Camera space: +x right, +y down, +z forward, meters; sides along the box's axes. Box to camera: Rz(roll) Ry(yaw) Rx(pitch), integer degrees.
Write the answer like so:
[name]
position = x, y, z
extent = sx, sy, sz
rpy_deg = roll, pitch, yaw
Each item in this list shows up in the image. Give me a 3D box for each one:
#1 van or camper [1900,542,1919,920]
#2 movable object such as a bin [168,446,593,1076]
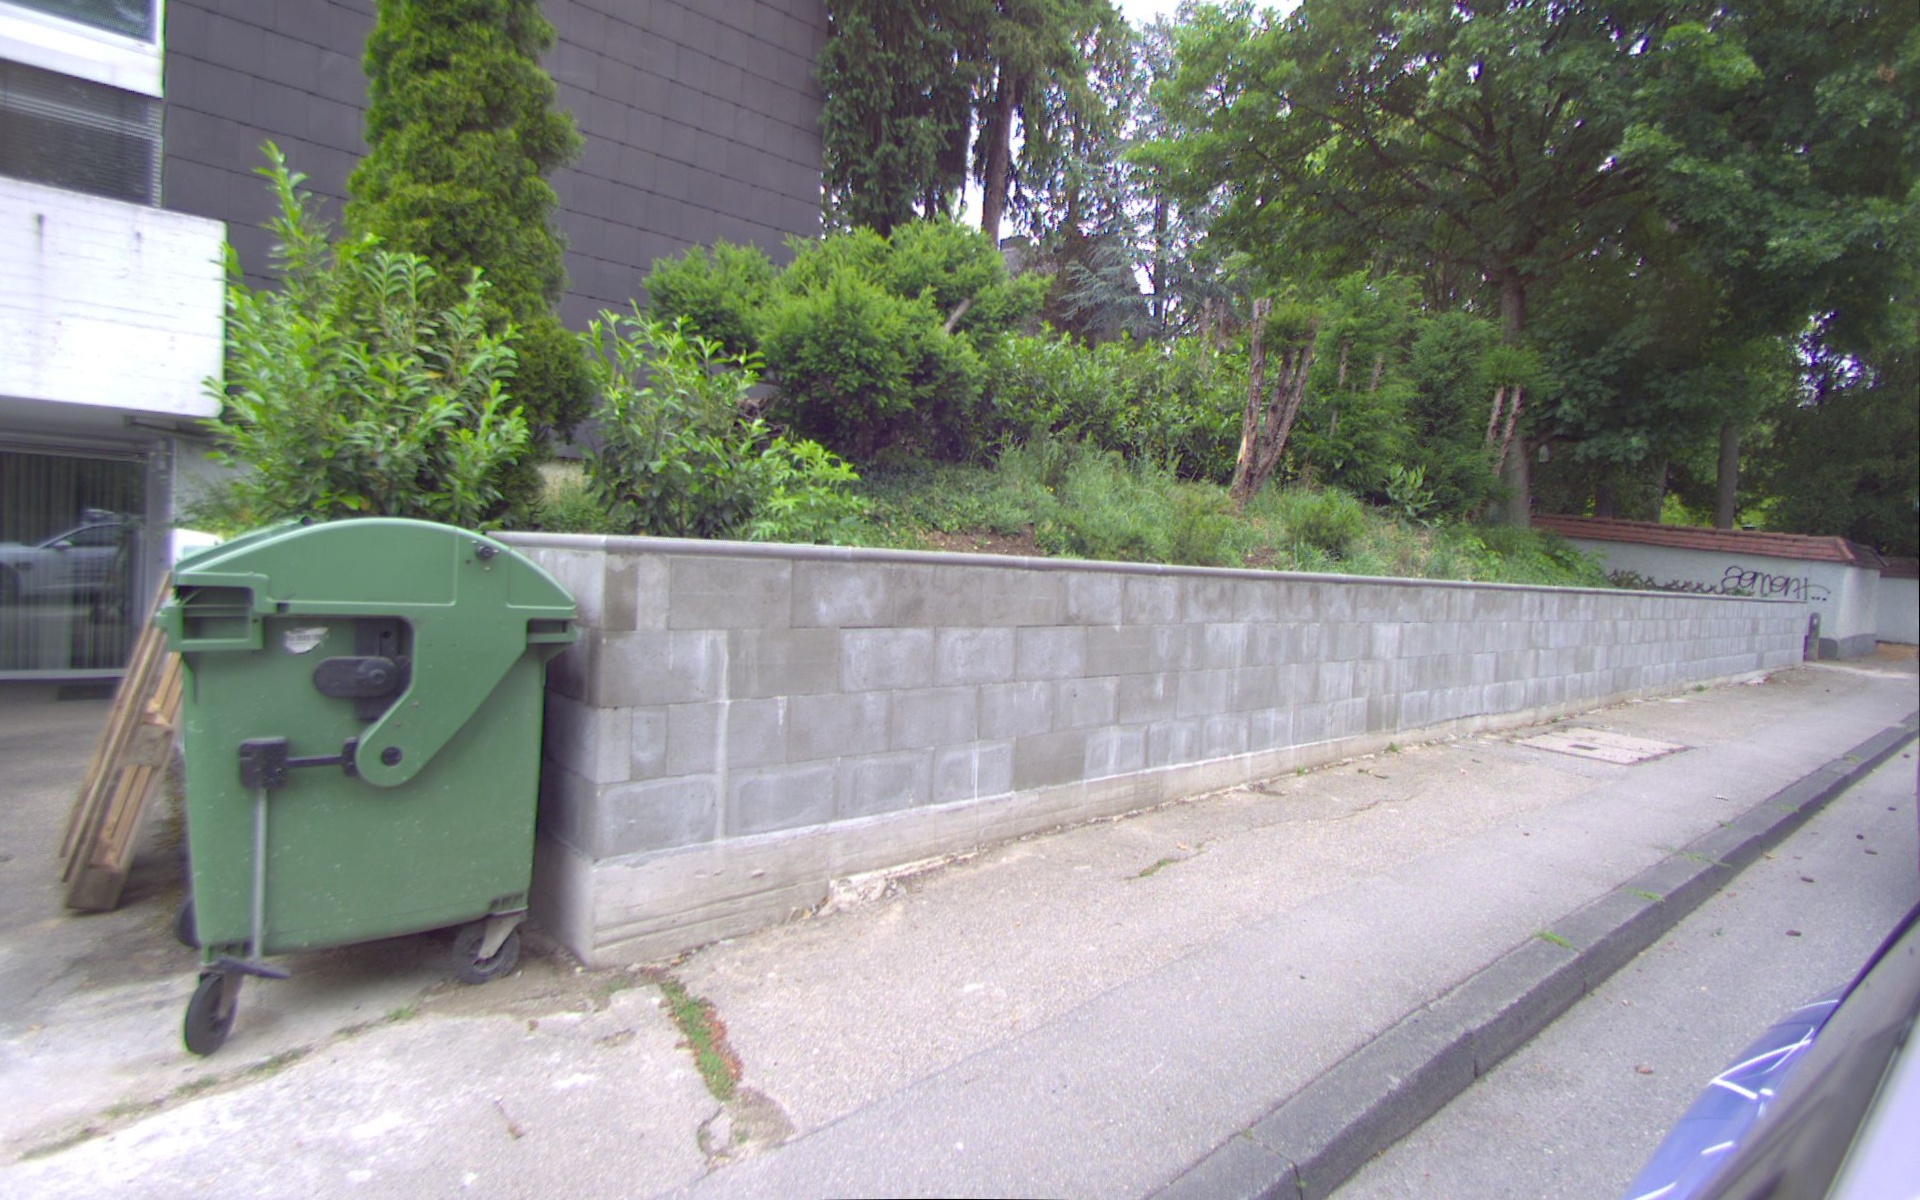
[van or camper]
position = 6.135, 0.528, 4.925
extent = 4.125, 1.693, 1.800
rpy_deg = 0, 3, -41
[movable object such as a bin]
position = -1.858, 0.373, 3.204
extent = 1.014, 1.549, 1.037
rpy_deg = 0, 2, -39
